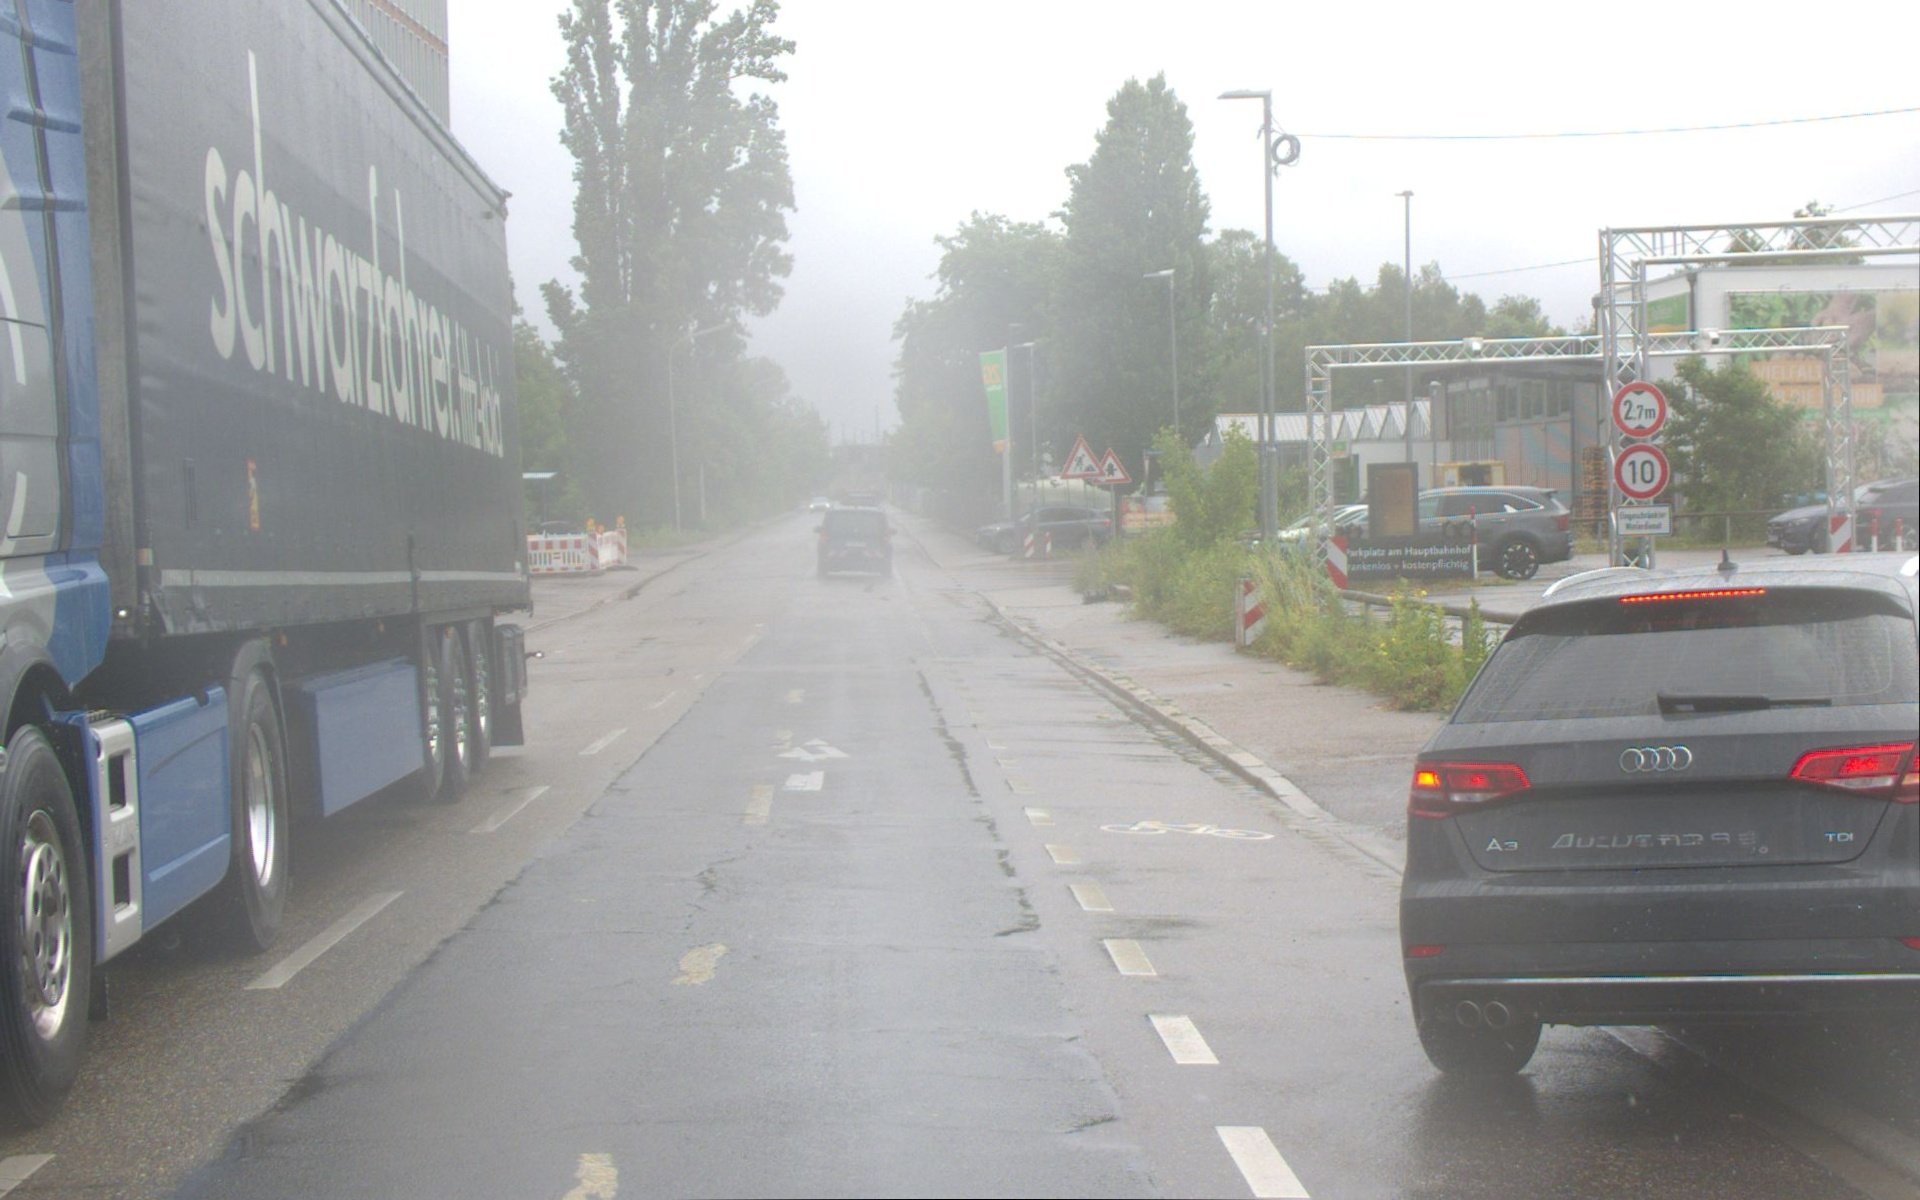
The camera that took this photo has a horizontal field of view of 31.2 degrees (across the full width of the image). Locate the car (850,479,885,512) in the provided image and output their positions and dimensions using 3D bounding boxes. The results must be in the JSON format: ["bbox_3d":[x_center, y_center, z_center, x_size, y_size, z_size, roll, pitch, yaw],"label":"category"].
[{"bbox_3d":[-5.035,-5.706,187.928,1.730,1.681,3.897,-1,1,1],"label":"car"}]

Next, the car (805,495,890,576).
[{"bbox_3d":[-2.795,-1.606,84.941,1.993,1.904,4.201,-1,1,-2],"label":"car"}]

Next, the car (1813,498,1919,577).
[{"bbox_3d":[18.635,-1.186,66.015,3.987,1.480,2.000,0,0,0],"label":"car"}]

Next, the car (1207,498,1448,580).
[{"bbox_3d":[6.866,-1.131,64.506,4.295,1.511,1.820,0,0,-1],"label":"car"}]

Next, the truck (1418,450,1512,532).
[{"bbox_3d":[17.484,-3.782,119.265,2.301,2.650,7.416,-2,2,2],"label":"truck"}]

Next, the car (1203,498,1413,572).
[{"bbox_3d":[7.224,-1.338,71.632,4.181,1.504,1.890,0,0,-1],"label":"car"}]

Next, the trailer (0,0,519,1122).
[{"bbox_3d":[-4.404,-0.901,16.832,3.293,4.638,13.735,-1,1,-3],"label":"trailer"}]

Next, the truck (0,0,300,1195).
[{"bbox_3d":[-4.122,-0.884,10.301,3.293,4.638,6.034,-1,1,-3],"label":"truck"}]

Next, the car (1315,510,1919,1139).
[{"bbox_3d":[2.730,0.492,10.477,1.897,1.451,4.221,0,2,26],"label":"car"}]

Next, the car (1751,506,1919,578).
[{"bbox_3d":[18.125,-1.155,69.096,3.987,1.404,2.000,0,0,0],"label":"car"}]

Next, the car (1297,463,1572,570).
[{"bbox_3d":[8.455,-1.479,61.619,4.681,1.729,2.128,-2,0,3],"label":"car"}]
